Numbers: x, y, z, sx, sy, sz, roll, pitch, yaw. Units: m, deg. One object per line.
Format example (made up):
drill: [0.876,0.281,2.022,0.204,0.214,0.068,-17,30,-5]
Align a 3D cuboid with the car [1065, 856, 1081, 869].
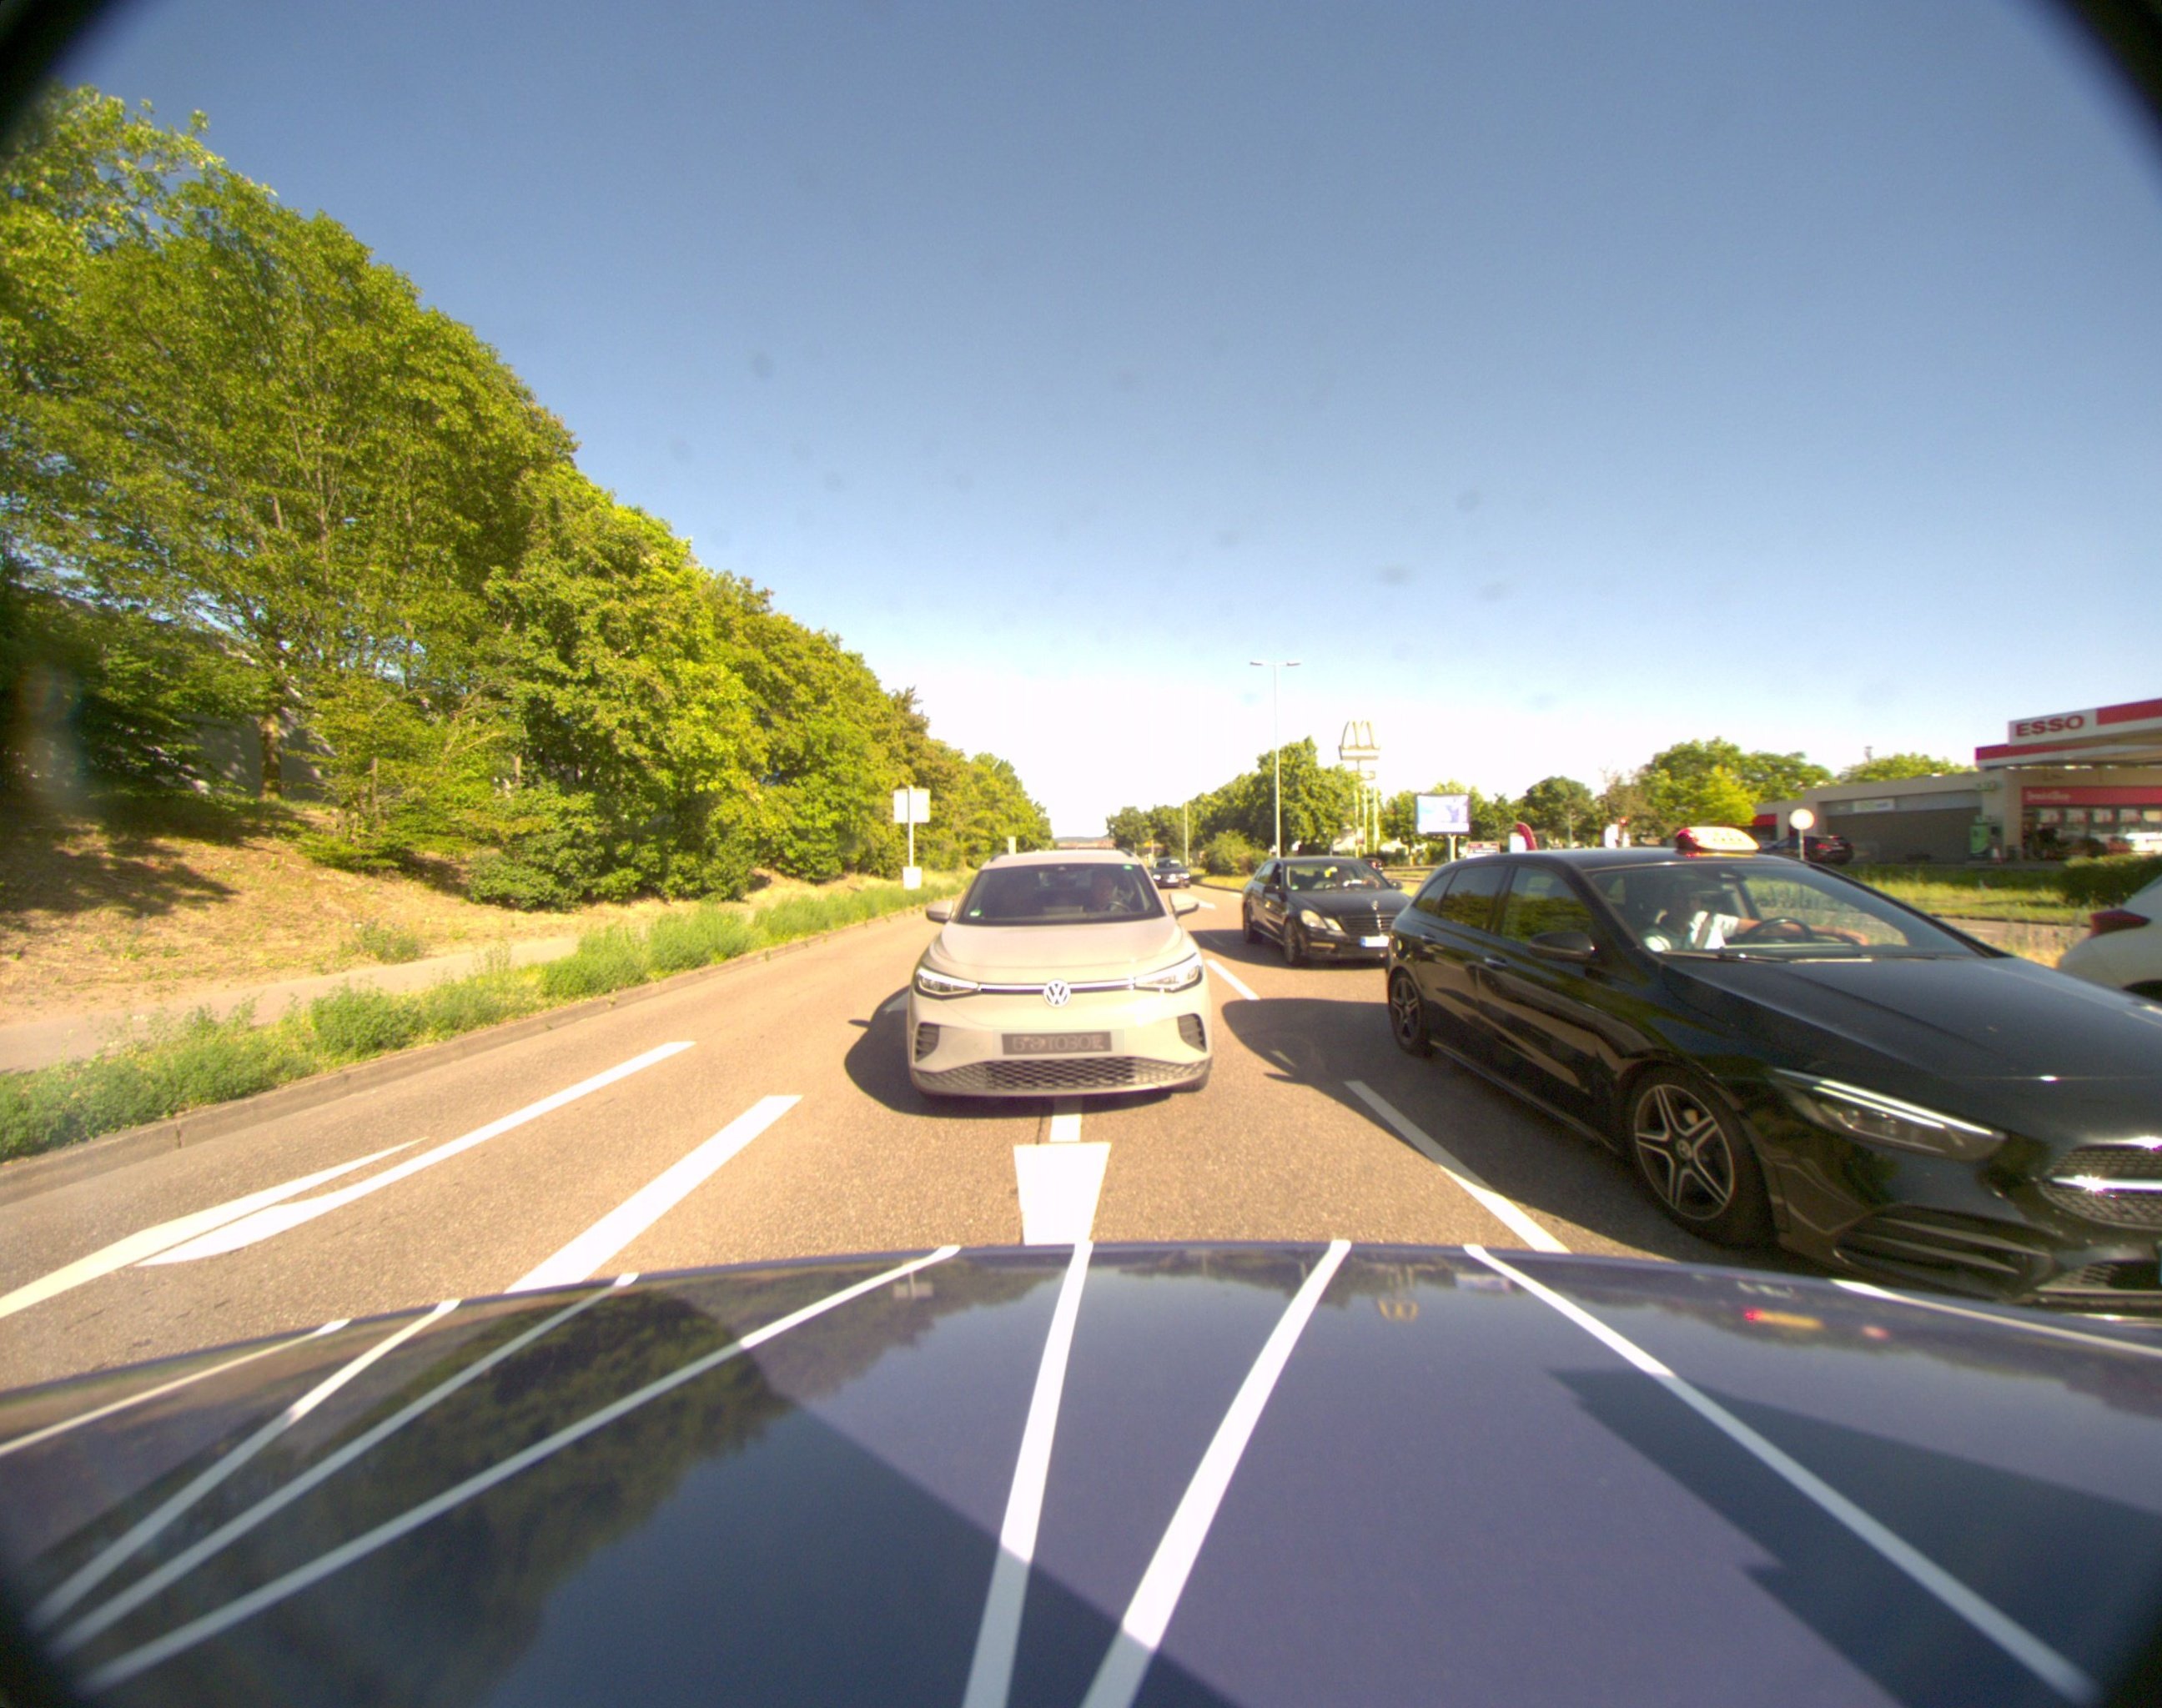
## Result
car: [-0.980,1.007,94.469,1.862,1.578,4.403,-1,0,1]

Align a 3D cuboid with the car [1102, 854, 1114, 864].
car: [4.358,0.760,122.582,1.862,1.578,4.403,-1,0,1]

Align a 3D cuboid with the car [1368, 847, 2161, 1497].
car: [3.165,0.804,3.989,1.804,1.616,4.188,-1,0,2]

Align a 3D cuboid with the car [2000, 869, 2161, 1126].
car: [7.062,0.811,2.852,1.862,1.421,4.403,-1,0,-1]

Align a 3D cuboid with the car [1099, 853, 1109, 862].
car: [4.662,0.699,154.141,1.862,1.578,4.403,-1,0,1]

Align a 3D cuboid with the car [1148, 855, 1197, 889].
car: [4.373,0.819,36.826,1.862,1.472,4.403,-1,0,1]

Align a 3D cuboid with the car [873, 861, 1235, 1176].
car: [-0.118,0.895,5.990,1.871,1.588,3.932,-2,0,1]

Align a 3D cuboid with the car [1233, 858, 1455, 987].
car: [3.646,0.845,11.462,1.862,1.515,4.403,-1,0,1]

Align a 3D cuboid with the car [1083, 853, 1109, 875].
car: [1.350,0.901,68.916,2.289,1.863,5.268,-1,0,1]

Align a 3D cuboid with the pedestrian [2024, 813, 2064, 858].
pedestrian: [42.850,-0.814,33.827,0.703,2.002,0.840,-1,0,1]

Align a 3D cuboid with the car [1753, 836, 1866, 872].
car: [37.623,0.001,39.421,1.998,1.759,4.118,-1,0,2]

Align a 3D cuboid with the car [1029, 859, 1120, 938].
car: [-0.113,0.895,16.966,1.765,1.503,3.760,-2,0,1]
